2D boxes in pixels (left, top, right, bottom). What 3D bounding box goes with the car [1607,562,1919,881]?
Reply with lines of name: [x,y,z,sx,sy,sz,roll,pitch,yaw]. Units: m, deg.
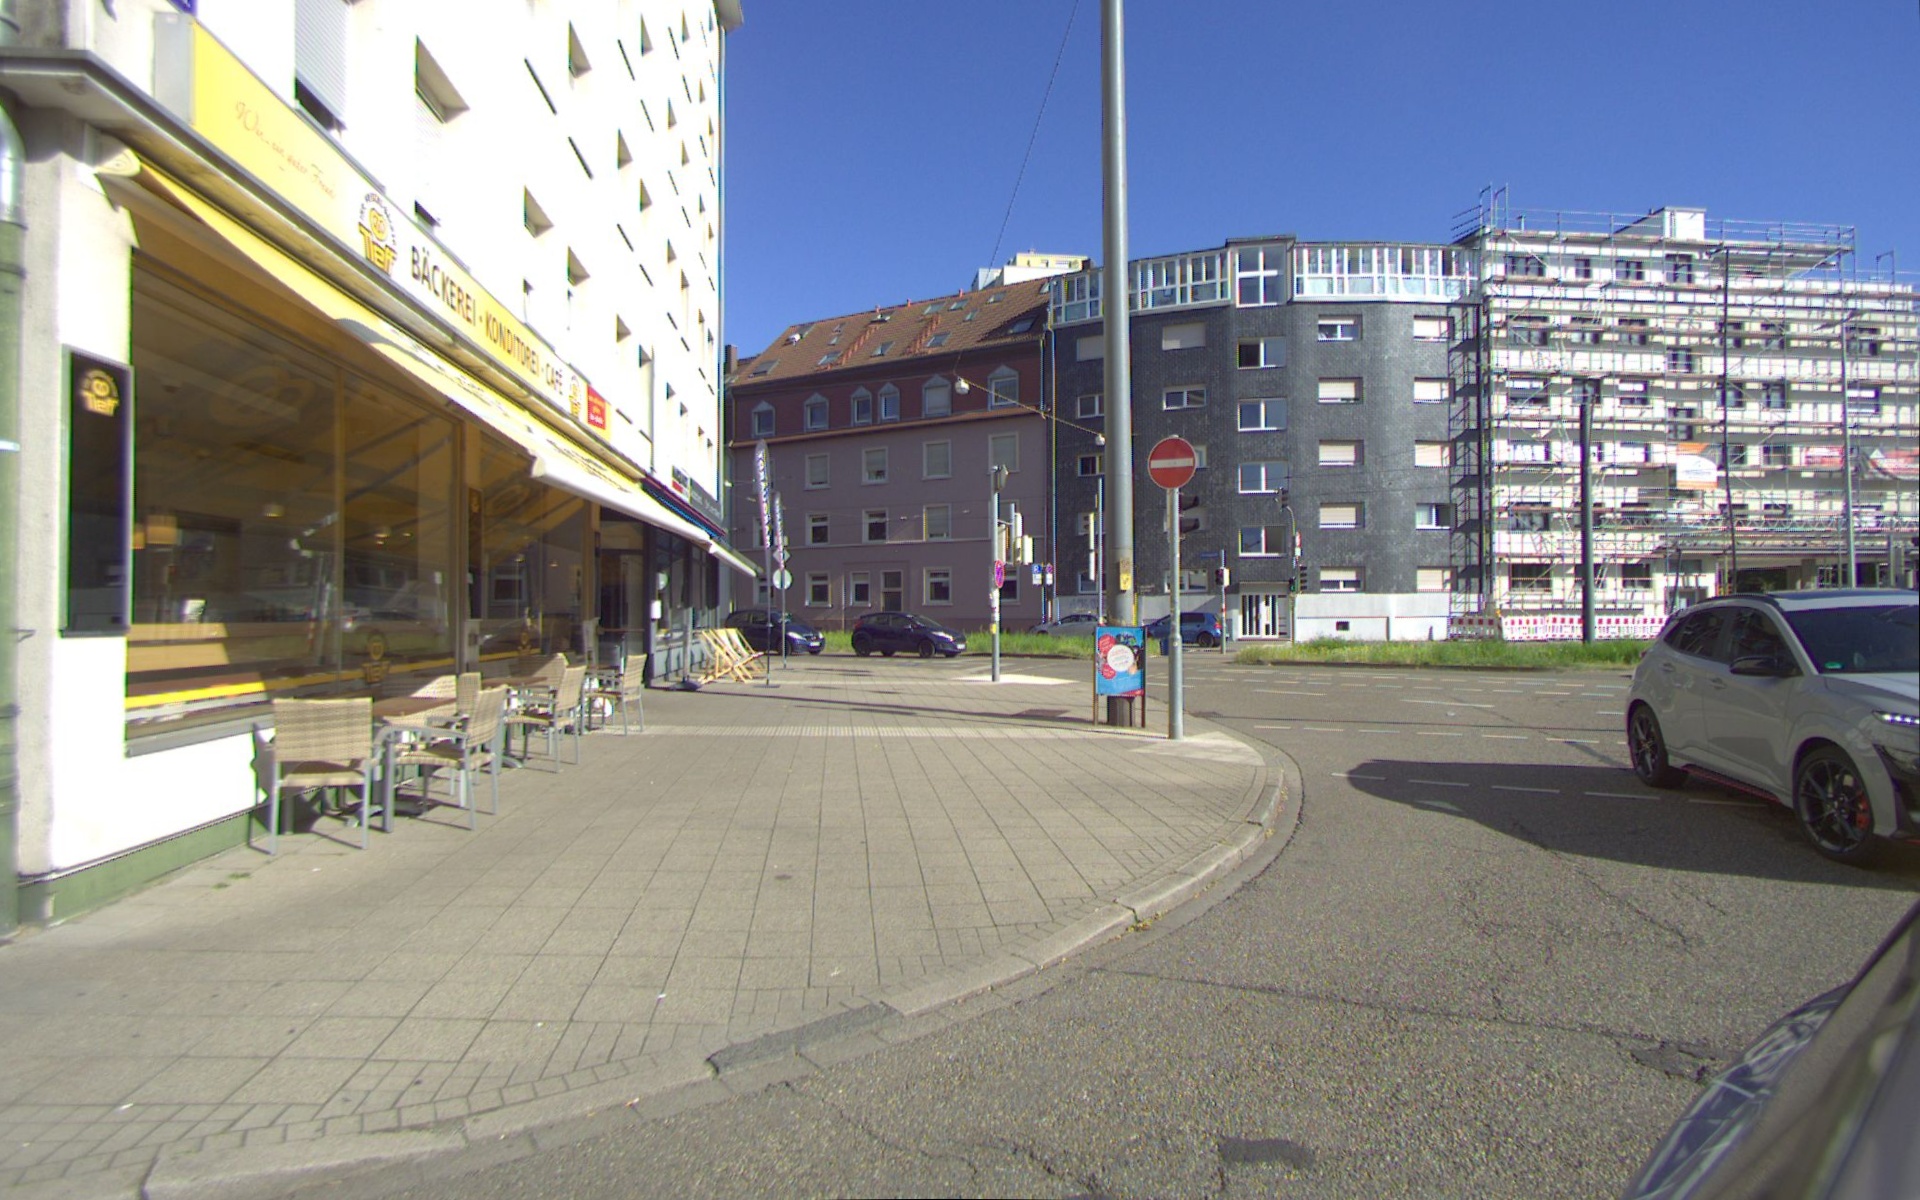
car: [6.218,0.618,6.823,1.879,1.572,4.462,0,-1,16]

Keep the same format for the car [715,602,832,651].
car: [-6.478,0.896,35.010,3.969,1.601,1.640,0,-1,33]

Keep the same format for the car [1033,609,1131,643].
car: [5.356,1.127,44.614,3.966,1.434,1.670,0,-1,31]

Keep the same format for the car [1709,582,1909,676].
car: [17.816,0.565,21.199,4.396,1.798,1.875,0,-1,-31]

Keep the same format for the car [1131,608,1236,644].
car: [9.319,1.066,42.265,3.966,1.434,1.670,0,-1,31]

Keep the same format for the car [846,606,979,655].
car: [-1.534,0.955,32.236,3.969,1.472,1.714,0,-2,33]
